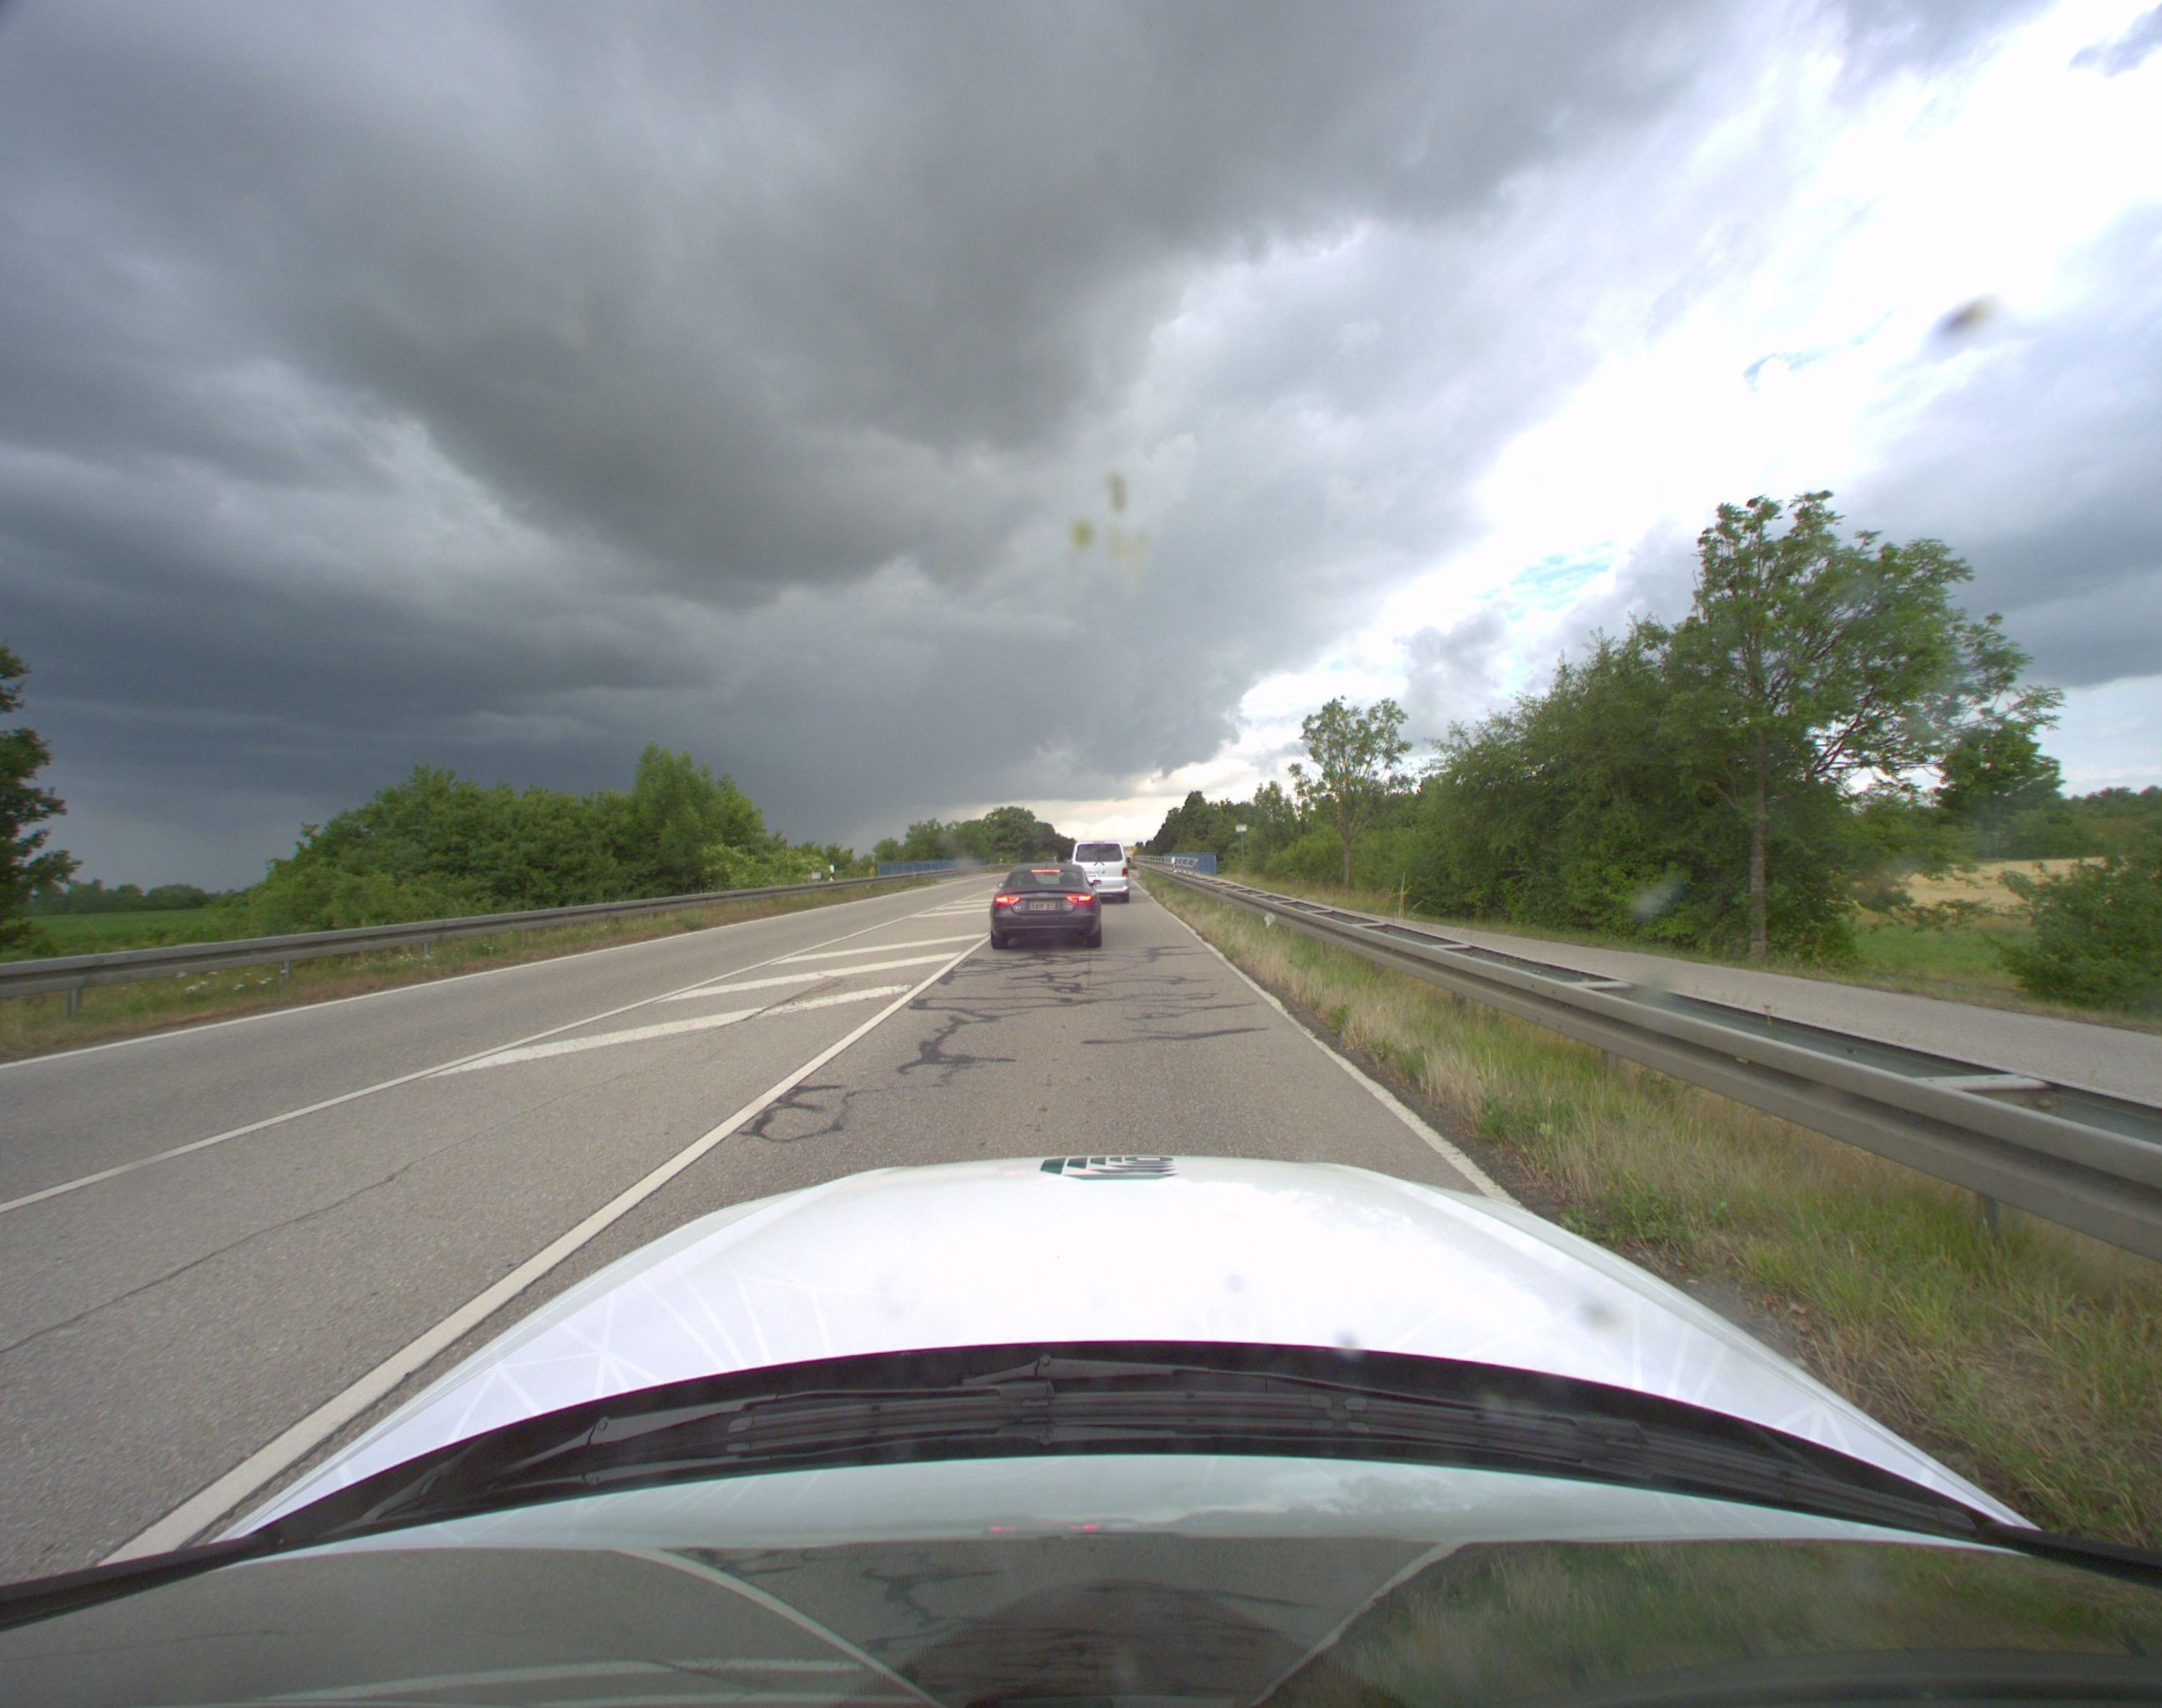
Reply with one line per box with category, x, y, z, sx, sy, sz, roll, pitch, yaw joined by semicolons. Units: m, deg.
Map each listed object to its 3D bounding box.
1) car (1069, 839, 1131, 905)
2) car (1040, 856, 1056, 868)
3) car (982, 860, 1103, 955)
car;0.642;0.541;26.636;1.821;1.935;4.001;-2;0;2
car;-4.249;1.077;105.148;1.793;1.450;4.446;-2;0;0
car;-0.544;0.841;14.578;1.815;1.381;4.073;-2;0;2
